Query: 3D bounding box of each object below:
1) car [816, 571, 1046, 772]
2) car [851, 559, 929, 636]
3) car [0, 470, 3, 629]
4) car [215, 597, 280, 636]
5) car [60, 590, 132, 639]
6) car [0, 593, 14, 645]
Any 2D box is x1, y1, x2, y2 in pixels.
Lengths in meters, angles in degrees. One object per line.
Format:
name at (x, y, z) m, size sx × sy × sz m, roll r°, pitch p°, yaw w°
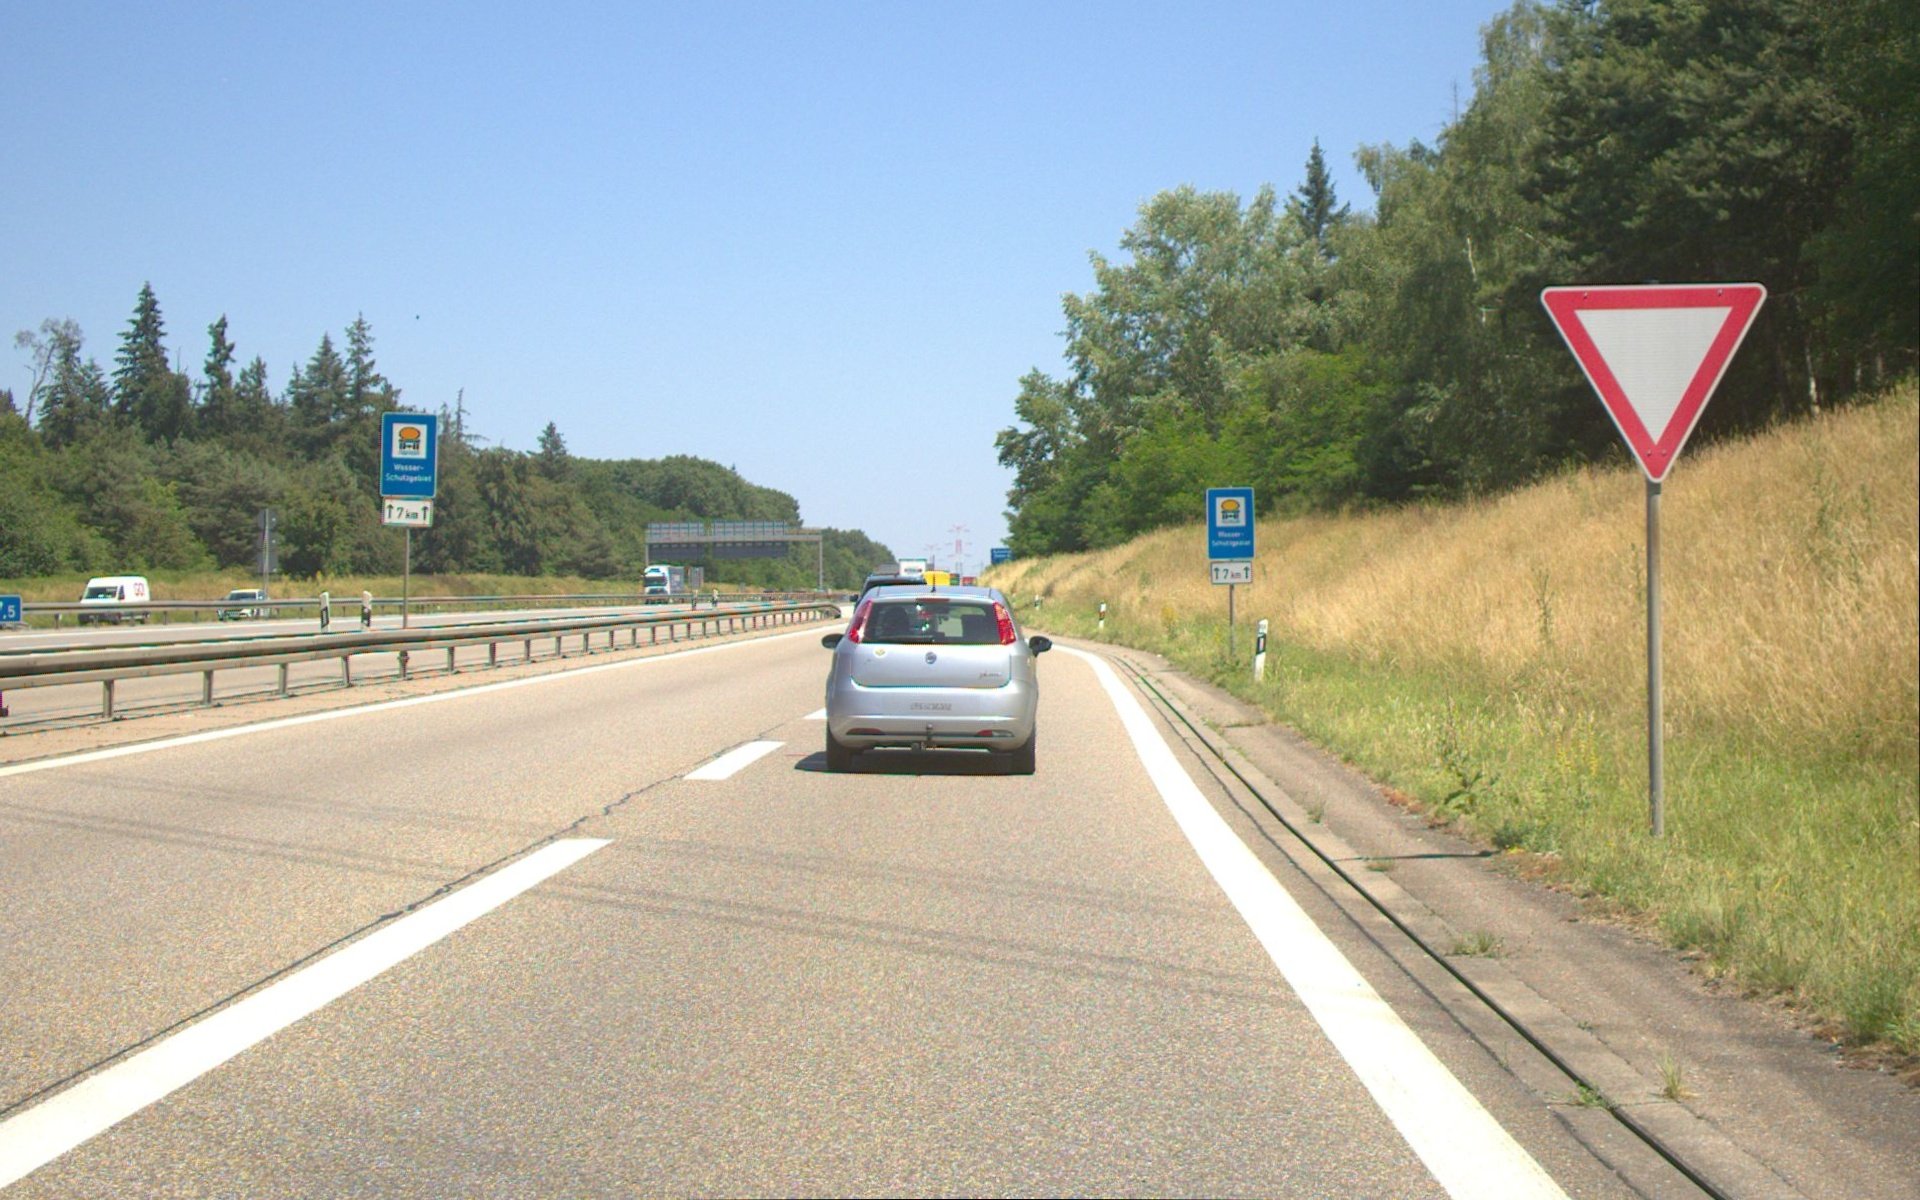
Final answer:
car at (-0.220, 0.543, 28.038) m, size 1.706 × 1.477 × 3.398 m, roll 2°, pitch 0°, yaw 0°
car at (-1.593, -0.041, 77.333) m, size 1.706 × 1.670 × 3.397 m, roll 0°, pitch -1°, yaw -2°
car at (-18.300, -0.953, 57.868) m, size 2.239 × 2.823 × 7.053 m, roll 0°, pitch -1°, yaw 2°
car at (-33.111, 0.775, 159.789) m, size 1.993 × 1.777 × 4.812 m, roll 0°, pitch -1°, yaw 0°
car at (-45.464, 0.764, 181.040) m, size 1.993 × 2.535 × 6.913 m, roll 0°, pitch -1°, yaw 0°
car at (-33.578, 0.641, 116.406) m, size 1.993 × 1.777 × 4.000 m, roll 0°, pitch -1°, yaw 0°
